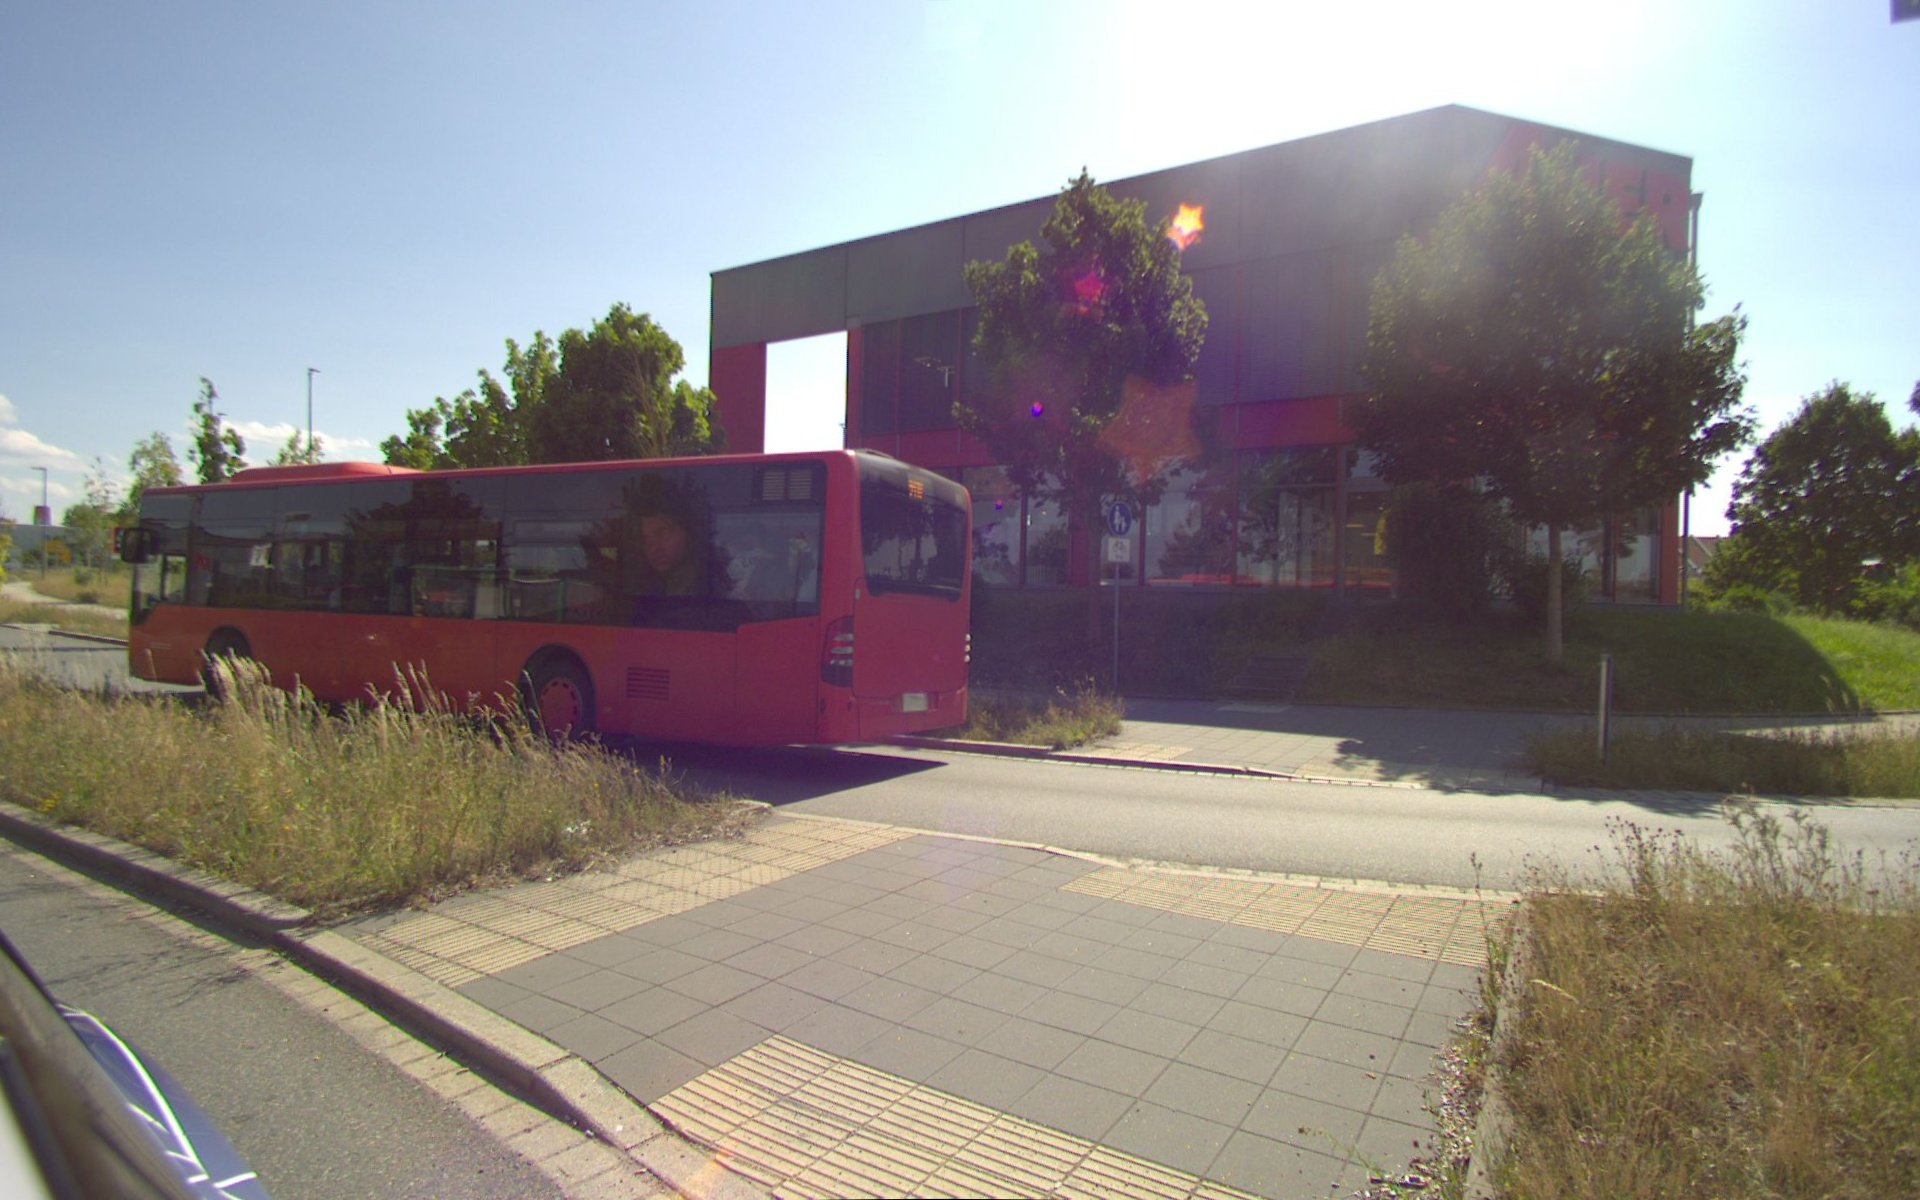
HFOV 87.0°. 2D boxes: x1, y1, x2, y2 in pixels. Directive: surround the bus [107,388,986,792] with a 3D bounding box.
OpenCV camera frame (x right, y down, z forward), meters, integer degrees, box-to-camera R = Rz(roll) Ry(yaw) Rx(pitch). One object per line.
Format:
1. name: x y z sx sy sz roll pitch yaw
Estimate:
1. bus: -5.562 -0.007 12.040 11.821 3.266 2.593 0 -2 27
